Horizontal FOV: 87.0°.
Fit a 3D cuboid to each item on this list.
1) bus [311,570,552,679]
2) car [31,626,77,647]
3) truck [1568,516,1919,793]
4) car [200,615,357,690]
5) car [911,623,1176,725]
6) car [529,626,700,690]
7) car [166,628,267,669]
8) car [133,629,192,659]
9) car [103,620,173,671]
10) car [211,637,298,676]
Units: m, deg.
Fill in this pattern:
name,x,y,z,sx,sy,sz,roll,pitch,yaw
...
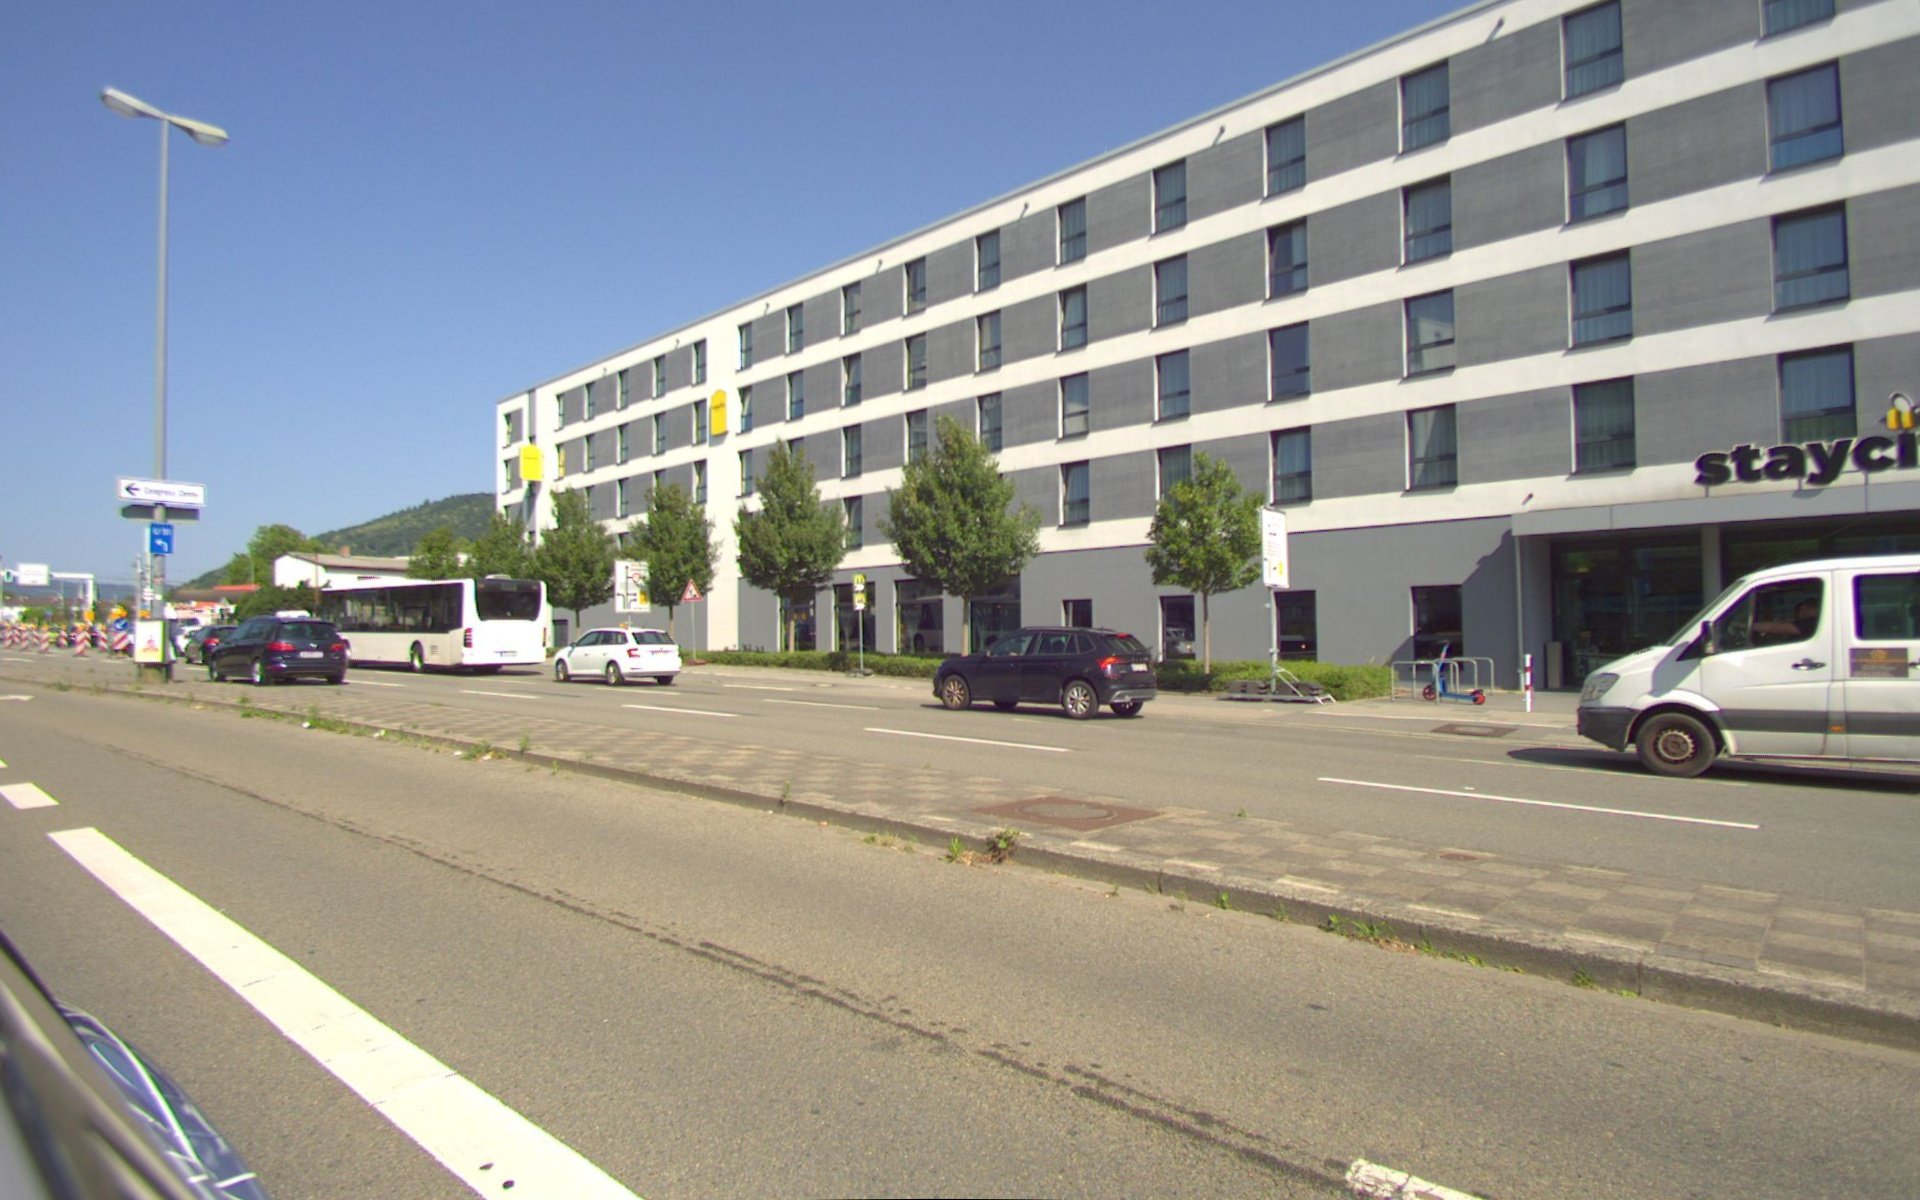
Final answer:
name,x,y,z,sx,sy,sz,roll,pitch,yaw
bus,-17.921,0.858,33.705,11.966,3.102,2.710,-1,-4,40
car,-69.061,2.741,77.122,4.888,1.534,1.973,-1,-2,41
truck,9.939,0.529,10.016,6.431,2.565,2.333,-1,-3,40
car,-16.122,1.191,23.876,4.128,1.630,1.868,-1,-2,38
car,1.387,1.225,17.975,4.411,1.590,1.972,-1,-3,42
car,-9.015,1.483,26.328,4.403,1.497,1.976,0,-4,36
car,-27.925,1.767,37.963,4.887,1.443,1.973,-1,-2,40
car,-45.198,2.478,57.337,3.584,1.631,1.699,-1,-1,36
car,-35.553,1.928,43.718,4.162,2.029,1.658,0,0,41
car,-30.907,2.427,44.273,4.888,1.534,1.973,-1,-2,41
